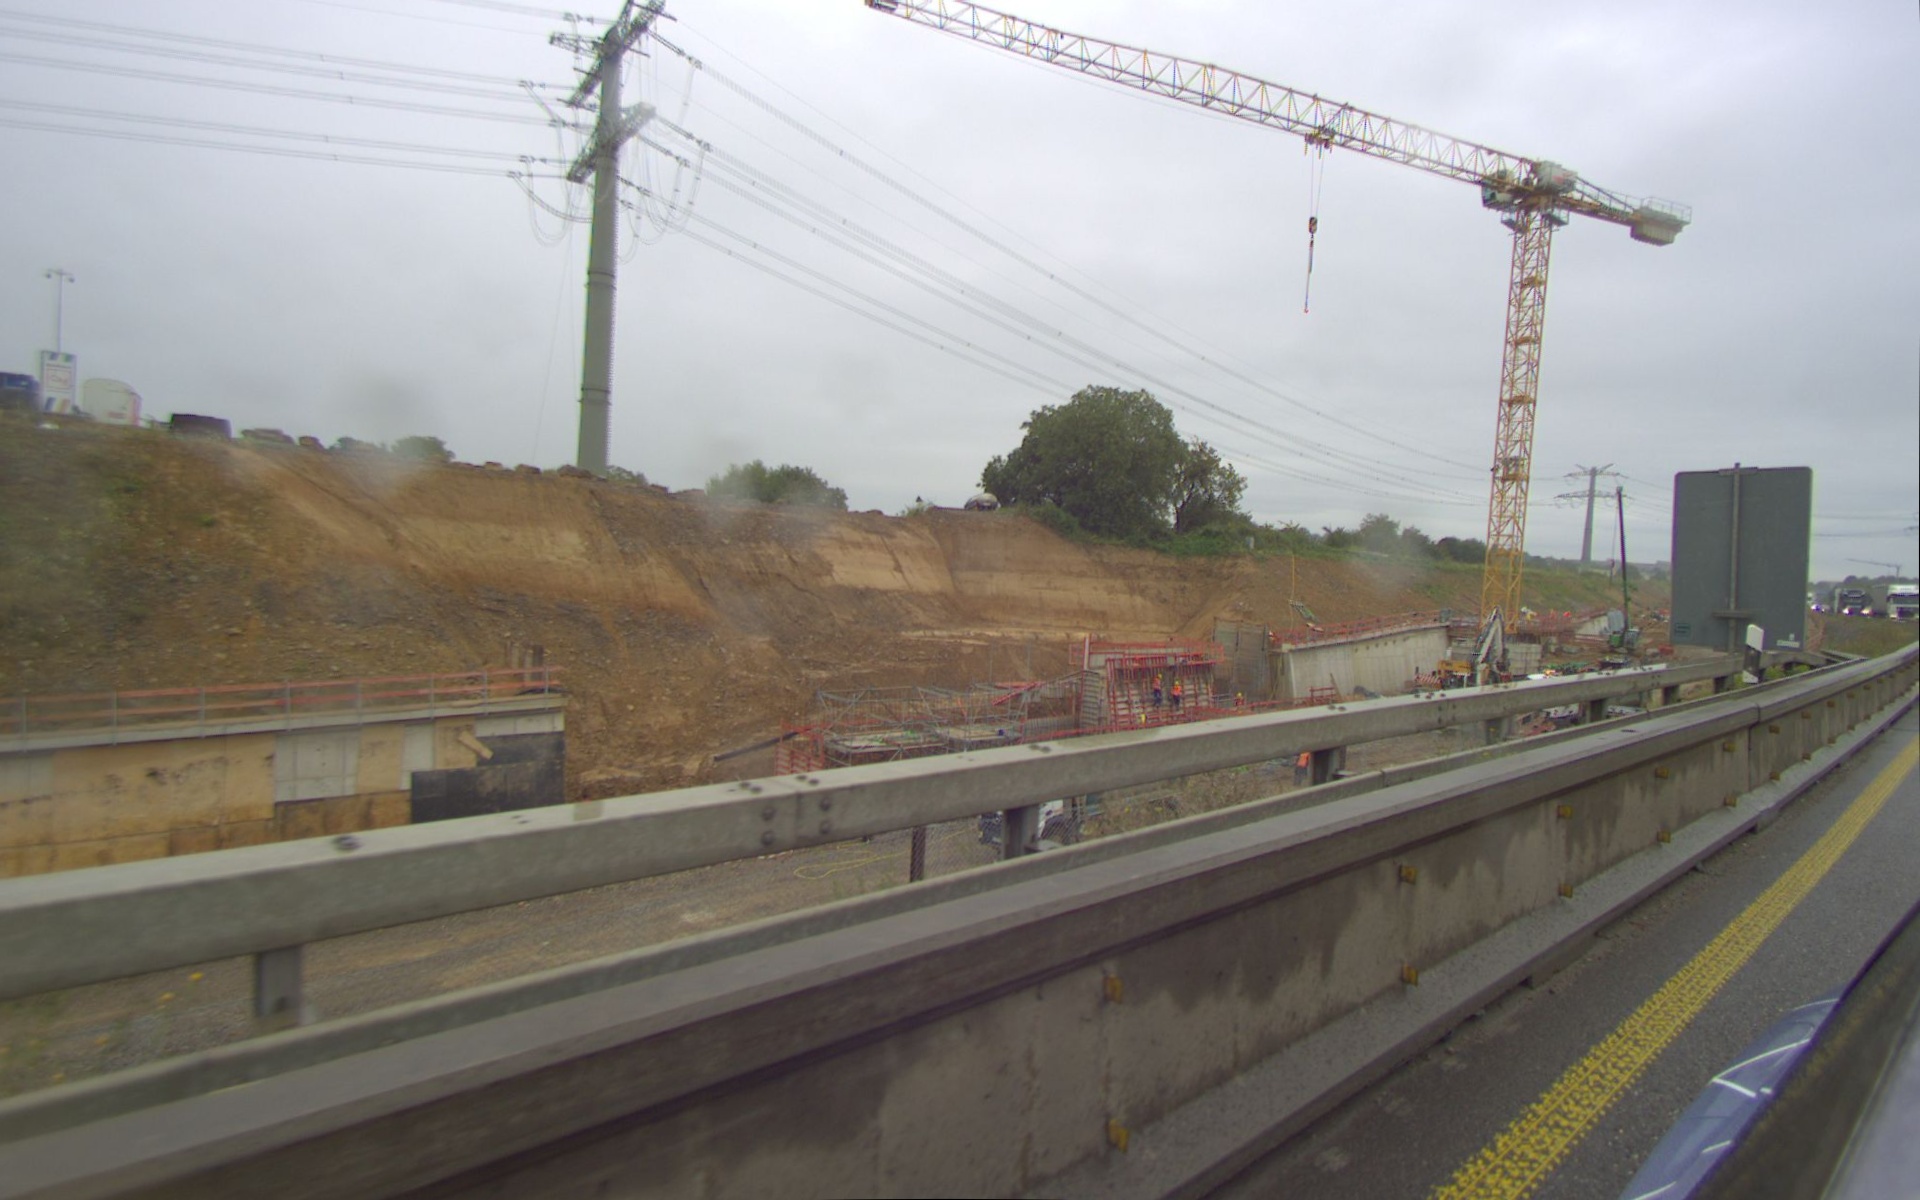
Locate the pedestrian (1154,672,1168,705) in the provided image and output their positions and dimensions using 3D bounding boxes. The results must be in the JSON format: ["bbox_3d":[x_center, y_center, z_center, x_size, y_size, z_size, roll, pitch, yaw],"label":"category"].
[{"bbox_3d":[11.387,5.020,57.364,0.571,1.827,0.489,-2,-3,-4],"label":"pedestrian"}]

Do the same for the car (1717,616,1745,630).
[{"bbox_3d":[104.495,3.106,137.173,2.346,1.638,4.782,3,3,44],"label":"car"}]

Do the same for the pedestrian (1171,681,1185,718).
[{"bbox_3d":[12.591,5.740,58.377,0.474,2.127,0.488,0,-4,-44],"label":"pedestrian"}]

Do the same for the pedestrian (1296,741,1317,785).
[{"bbox_3d":[15.326,7.205,44.819,0.474,1.790,0.602,0,5,-44],"label":"pedestrian"}]

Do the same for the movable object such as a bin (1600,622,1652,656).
[{"bbox_3d":[69.719,4.025,105.922,3.935,2.914,3.498,-1,8,-44],"label":"movable object such as a bin"}]

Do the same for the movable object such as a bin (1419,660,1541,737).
[{"bbox_3d":[29.321,5.410,57.033,6.528,3.466,3.520,-1,2,-35],"label":"movable object such as a bin"}]

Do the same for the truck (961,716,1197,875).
[{"bbox_3d":[4.303,6.433,34.874,8.916,3.655,2.709,-1,4,-41],"label":"truck"}]

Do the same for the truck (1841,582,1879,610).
[{"bbox_3d":[129.709,-0.610,145.832,8.199,3.942,3.538,0,0,-45],"label":"truck"}]

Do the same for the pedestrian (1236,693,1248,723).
[{"bbox_3d":[17.294,6.625,62.090,0.474,1.781,0.488,0,4,-44],"label":"pedestrian"}]

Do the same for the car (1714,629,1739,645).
[{"bbox_3d":[91.552,4.410,120.799,1.856,1.638,4.015,3,3,44],"label":"car"}]

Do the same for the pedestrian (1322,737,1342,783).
[{"bbox_3d":[16.777,7.212,45.639,0.474,1.928,0.602,0,3,-44],"label":"pedestrian"}]

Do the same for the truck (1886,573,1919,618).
[{"bbox_3d":[100.068,-0.469,105.914,4.303,4.399,13.208,0,0,41],"label":"truck"}]

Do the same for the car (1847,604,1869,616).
[{"bbox_3d":[110.338,1.192,124.344,3.935,1.445,1.786,0,0,-45],"label":"car"}]

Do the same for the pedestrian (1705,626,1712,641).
[{"bbox_3d":[86.728,3.899,117.238,0.593,1.702,0.613,0,0,-43],"label":"pedestrian"}]

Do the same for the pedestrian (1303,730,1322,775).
[{"bbox_3d":[16.235,7.007,46.583,0.474,1.928,0.602,0,4,-44],"label":"pedestrian"}]

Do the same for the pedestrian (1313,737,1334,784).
[{"bbox_3d":[16.121,7.110,44.933,0.604,1.928,0.602,0,3,-44],"label":"pedestrian"}]
